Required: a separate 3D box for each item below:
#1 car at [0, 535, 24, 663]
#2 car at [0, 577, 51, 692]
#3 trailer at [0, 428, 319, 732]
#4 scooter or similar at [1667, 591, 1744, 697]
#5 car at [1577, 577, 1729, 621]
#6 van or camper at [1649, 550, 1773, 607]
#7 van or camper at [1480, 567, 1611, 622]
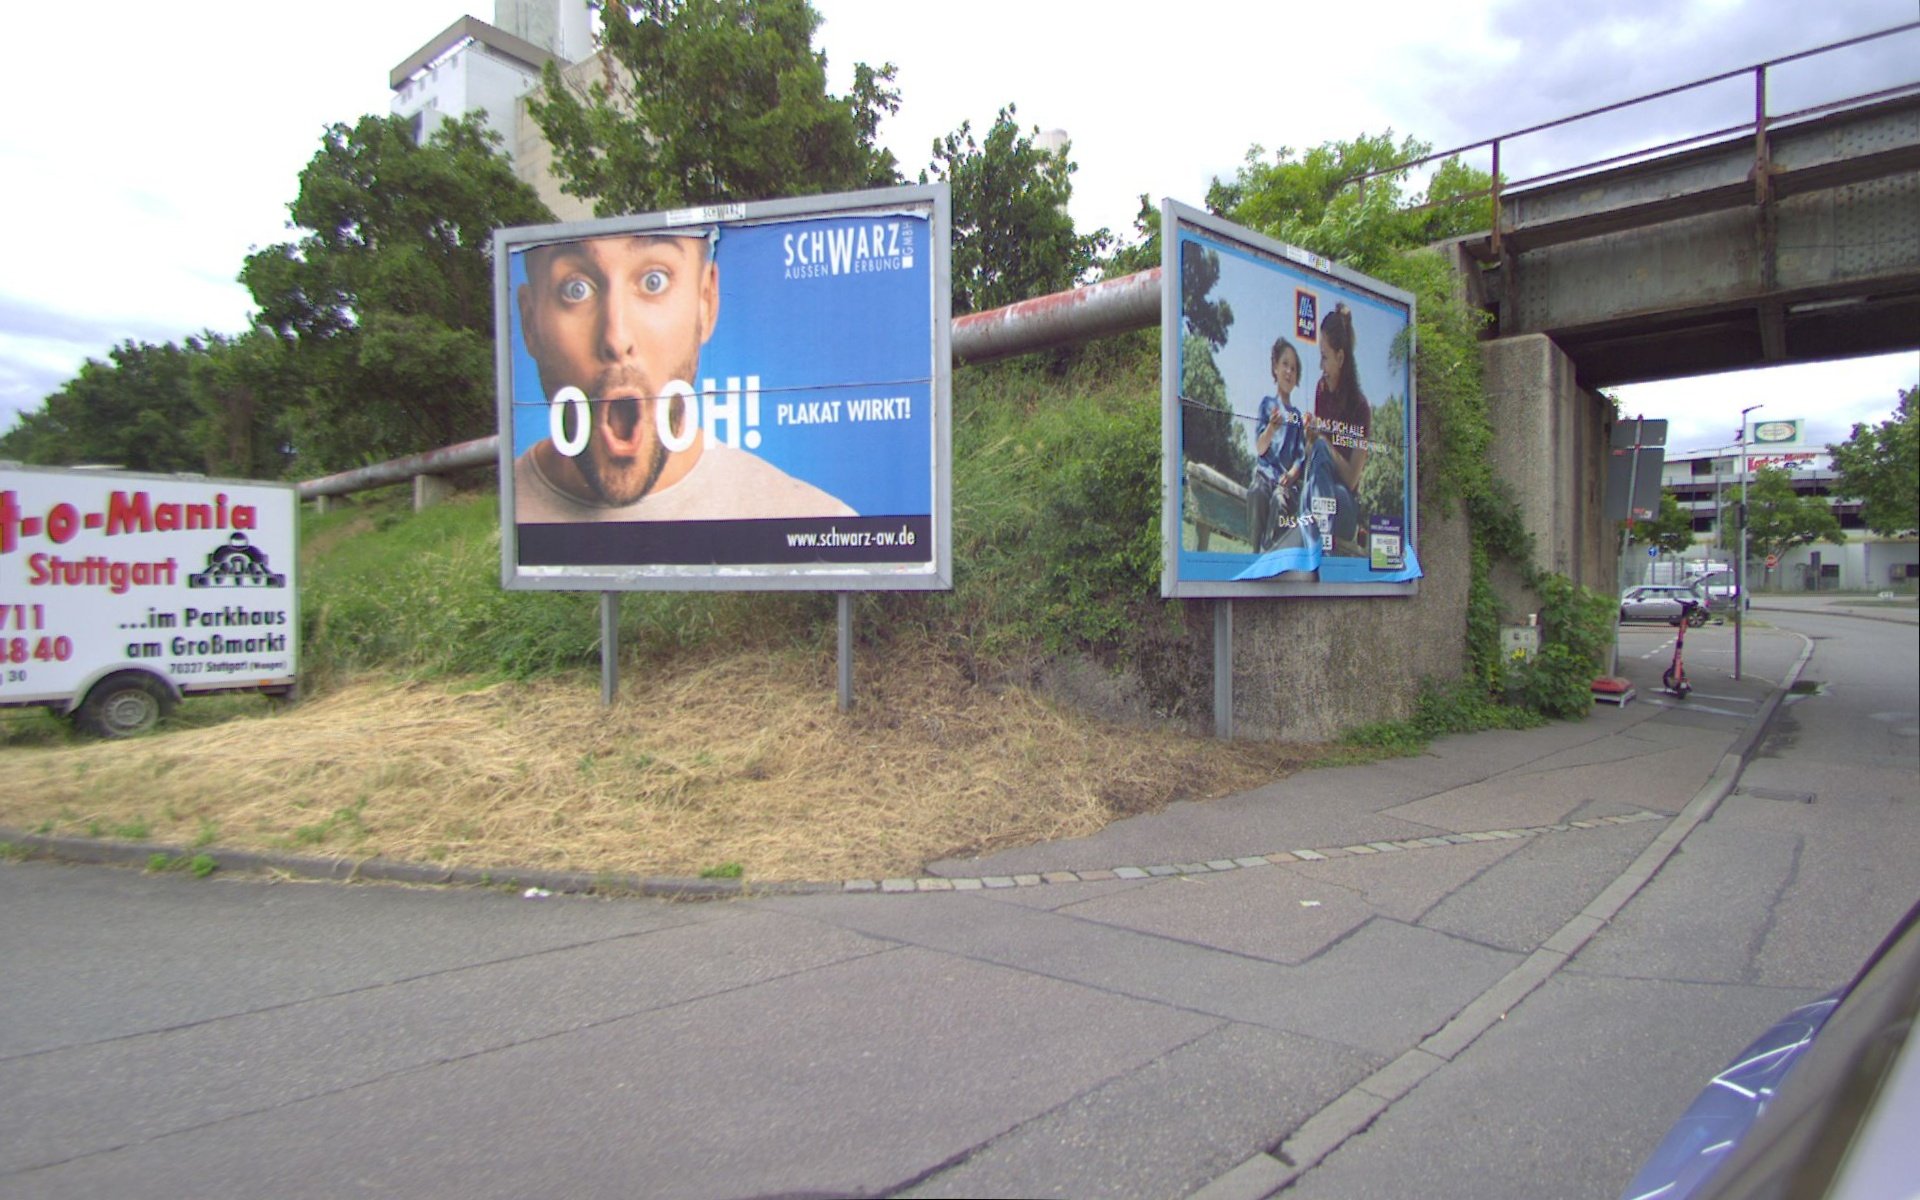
[{"bbox_3d":[-23.419,0.006,20.911,2.016,2.813,5.813,-1,0,41],"label":"car"},{"bbox_3d":[-17.740,0.589,16.146,1.990,1.905,4.588,-1,0,39],"label":"car"},{"bbox_3d":[-8.305,-0.158,8.764,1.802,2.428,4.350,-1,0,41],"label":"trailer"},{"bbox_3d":[9.692,0.533,13.199,0.501,1.251,1.653,4,3,28],"label":"scooter or similar"},{"bbox_3d":[24.132,-0.062,35.399,3.965,1.450,1.777,1,1,17],"label":"car"},{"bbox_3d":[36.751,-1.074,49.796,2.235,2.589,6.094,-1,1,9],"label":"van or camper"},{"bbox_3d":[20.114,-0.217,35.012,1.797,1.715,4.508,-1,1,-2],"label":"van or camper"}]
